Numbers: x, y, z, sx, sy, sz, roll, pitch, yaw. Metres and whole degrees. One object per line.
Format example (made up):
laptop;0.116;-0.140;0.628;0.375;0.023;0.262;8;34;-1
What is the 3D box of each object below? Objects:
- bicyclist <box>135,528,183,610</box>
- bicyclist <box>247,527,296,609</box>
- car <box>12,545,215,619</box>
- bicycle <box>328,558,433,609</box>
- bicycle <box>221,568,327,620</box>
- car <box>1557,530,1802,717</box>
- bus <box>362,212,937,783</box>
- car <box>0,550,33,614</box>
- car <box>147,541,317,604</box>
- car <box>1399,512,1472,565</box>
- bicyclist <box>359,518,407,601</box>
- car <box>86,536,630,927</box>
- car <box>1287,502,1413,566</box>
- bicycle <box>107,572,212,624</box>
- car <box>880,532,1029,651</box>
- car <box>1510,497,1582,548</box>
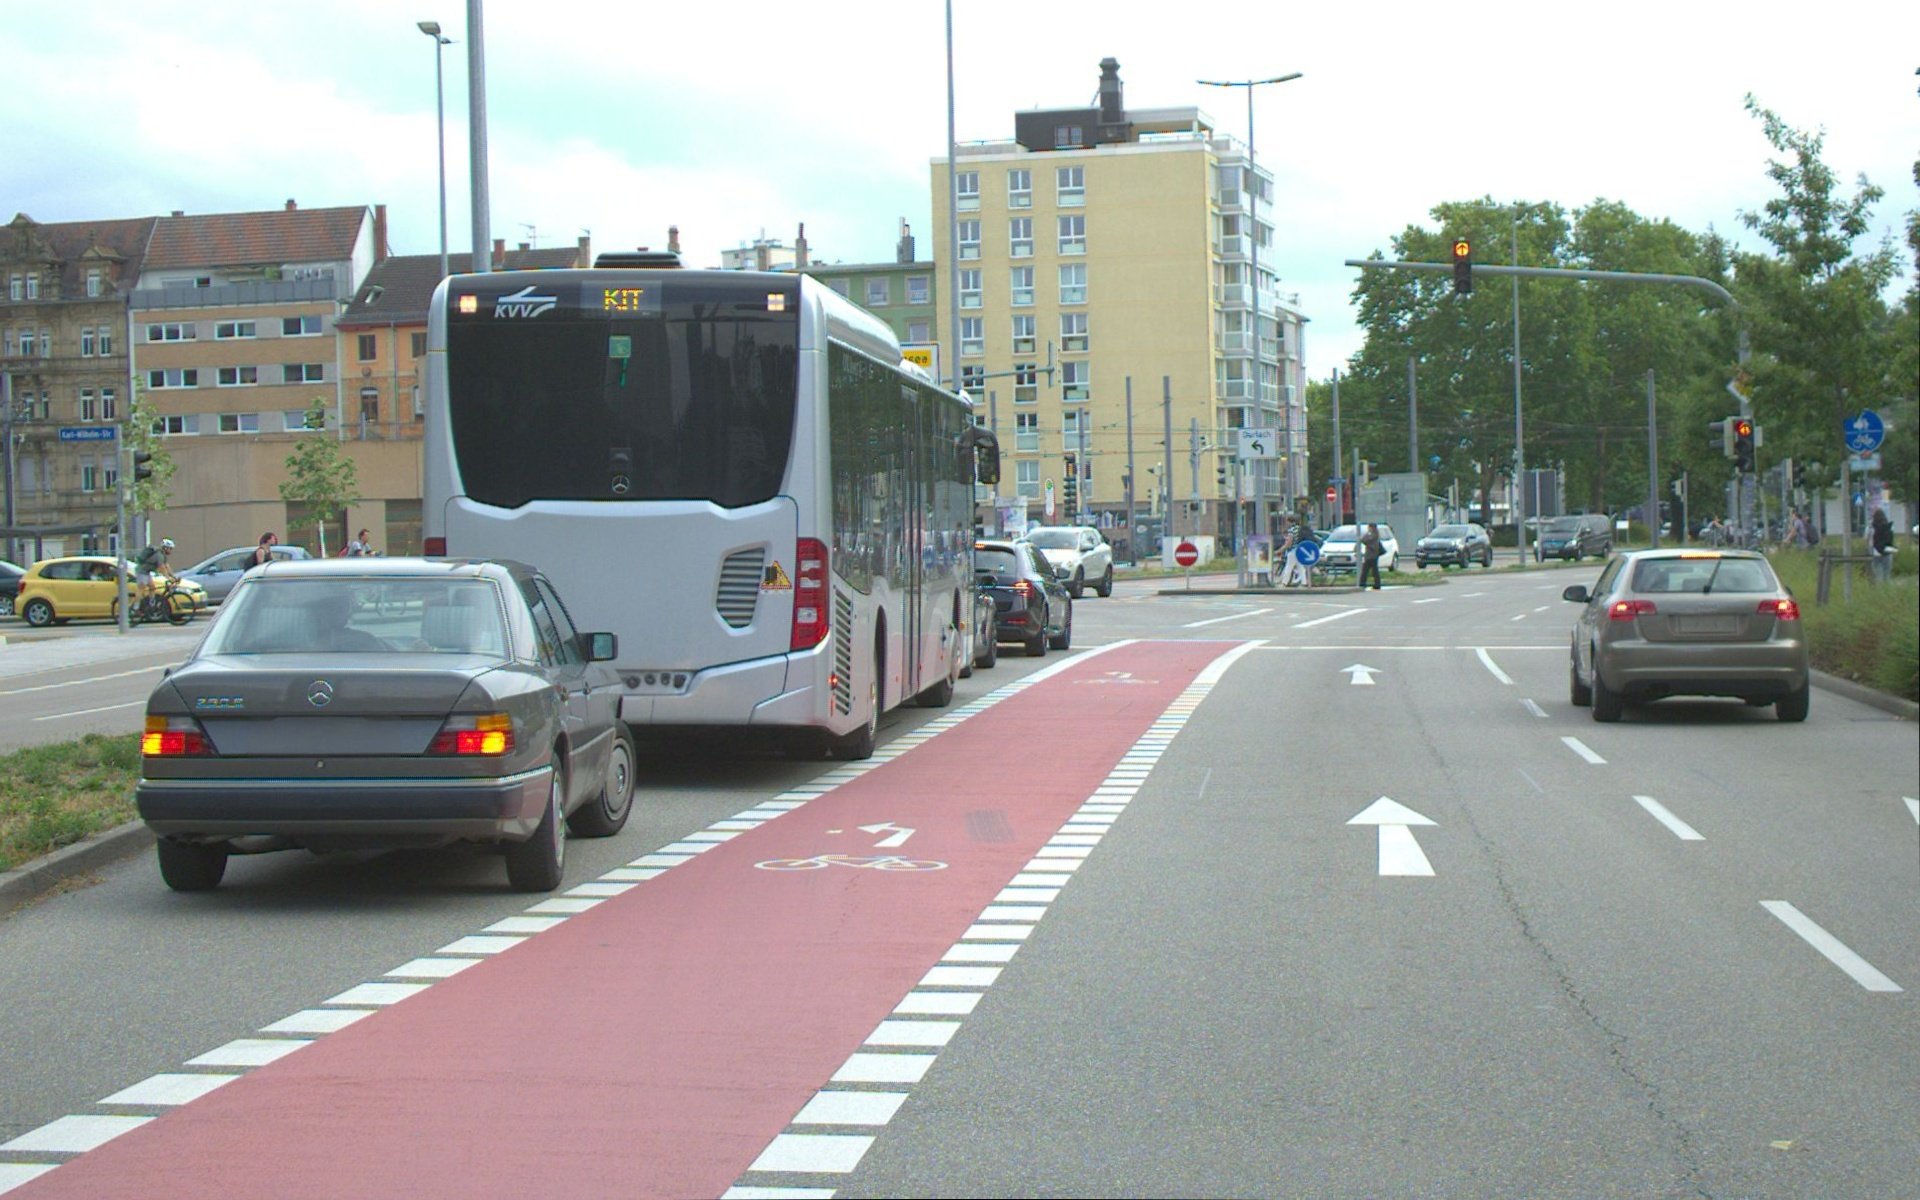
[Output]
bicyclist;-16.218;-0.624;69.640;0.786;1.637;0.572;-1;1;1
bicyclist;-13.899;-0.654;69.436;0.786;1.637;0.572;-1;1;5
car;-17.762;-0.386;72.228;3.856;1.512;1.660;0;1;1
bicycle;-11.627;-0.334;69.012;1.964;0.978;0.631;-1;1;3
bicycle;-13.856;-0.122;69.452;1.964;0.978;0.631;-1;1;5
car;6.107;0.158;29.517;1.725;1.452;3.735;-1;1;7
bus;-1.899;-0.716;24.773;2.832;3.378;8.182;-1;1;4
car;-22.768;-0.408;76.675;3.763;1.389;1.585;0;1;1
car;-16.293;-0.620;76.949;3.671;1.389;1.585;0;1;-14
car;17.741;-2.302;128.105;1.808;1.844;3.996;-1;1;20
bicyclist;-11.584;-0.821;69.000;0.786;1.637;0.614;-1;1;3
car;-2.573;0.482;15.647;1.761;1.484;4.171;-1;1;-1
car;13.470;-2.298;118.481;2.587;2.102;5.593;-1;1;26
bicycle;-16.213;-0.041;69.654;1.964;0.978;0.631;-1;1;1
car;-0.032;-0.144;43.554;1.655;1.391;3.860;-1;1;3
car;23.904;-3.173;140.194;1.996;2.007;3.996;-1;1;23
